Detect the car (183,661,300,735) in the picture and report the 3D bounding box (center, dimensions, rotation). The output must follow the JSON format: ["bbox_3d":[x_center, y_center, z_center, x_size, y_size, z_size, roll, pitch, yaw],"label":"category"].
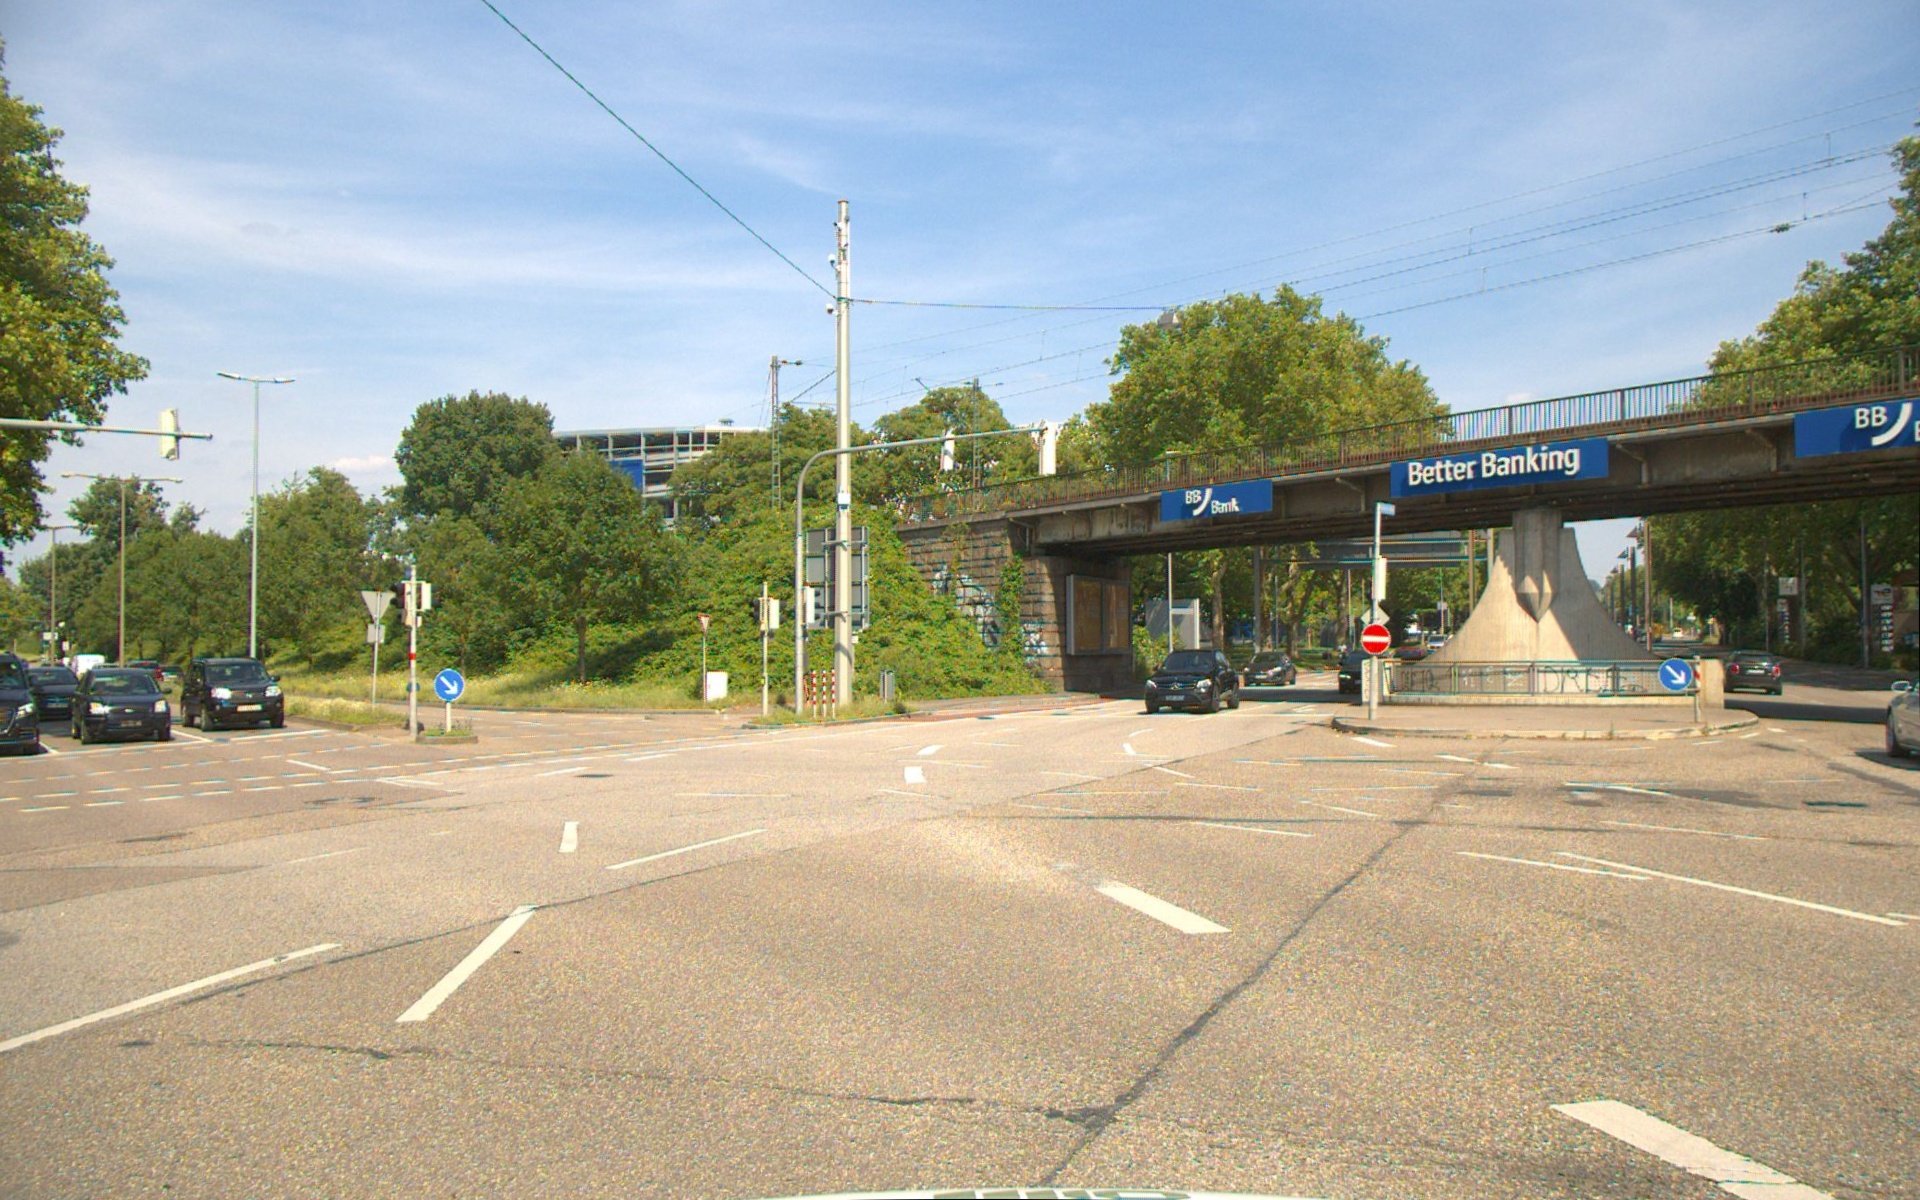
[{"bbox_3d":[-17.385,2.320,39.935,1.792,1.644,4.436,0,-2,-35],"label":"car"}]

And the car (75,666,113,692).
[{"bbox_3d":[-60.367,5.480,115.273,1.975,1.738,4.214,0,-3,-33],"label":"car"}]

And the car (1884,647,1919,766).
[{"bbox_3d":[14.015,1.452,22.511,1.953,1.534,4.482,1,-1,22],"label":"car"}]

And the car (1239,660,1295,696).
[{"bbox_3d":[13.405,3.381,72.098,1.784,1.533,4.217,-1,-2,19],"label":"car"}]

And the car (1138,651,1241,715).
[{"bbox_3d":[6.194,2.186,44.252,1.951,1.624,4.447,-1,-2,18],"label":"car"}]

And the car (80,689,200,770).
[{"bbox_3d":[-17.045,2.631,34.291,1.746,1.501,3.911,1,-2,-34],"label":"car"}]

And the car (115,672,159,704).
[{"bbox_3d":[-45.994,4.900,92.392,1.721,1.563,3.954,1,-1,-33],"label":"car"}]

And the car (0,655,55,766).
[{"bbox_3d":[-18.887,2.077,32.043,1.921,1.953,5.166,1,-2,-34],"label":"car"}]

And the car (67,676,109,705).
[{"bbox_3d":[-55.139,5.689,104.572,1.976,1.713,3.952,1,-2,-34],"label":"car"}]

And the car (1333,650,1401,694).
[{"bbox_3d":[14.241,2.498,57.719,1.653,1.467,3.998,-2,-2,23],"label":"car"}]

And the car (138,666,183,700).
[{"bbox_3d":[-49.365,5.102,102.115,2.000,1.870,3.954,1,-1,-33],"label":"car"}]

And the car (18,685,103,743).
[{"bbox_3d":[-26.020,3.253,47.769,1.819,1.488,4.465,-2,-1,-33],"label":"car"}]

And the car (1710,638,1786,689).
[{"bbox_3d":[26.761,2.127,56.262,1.898,1.629,4.001,1,-1,19],"label":"car"}]
